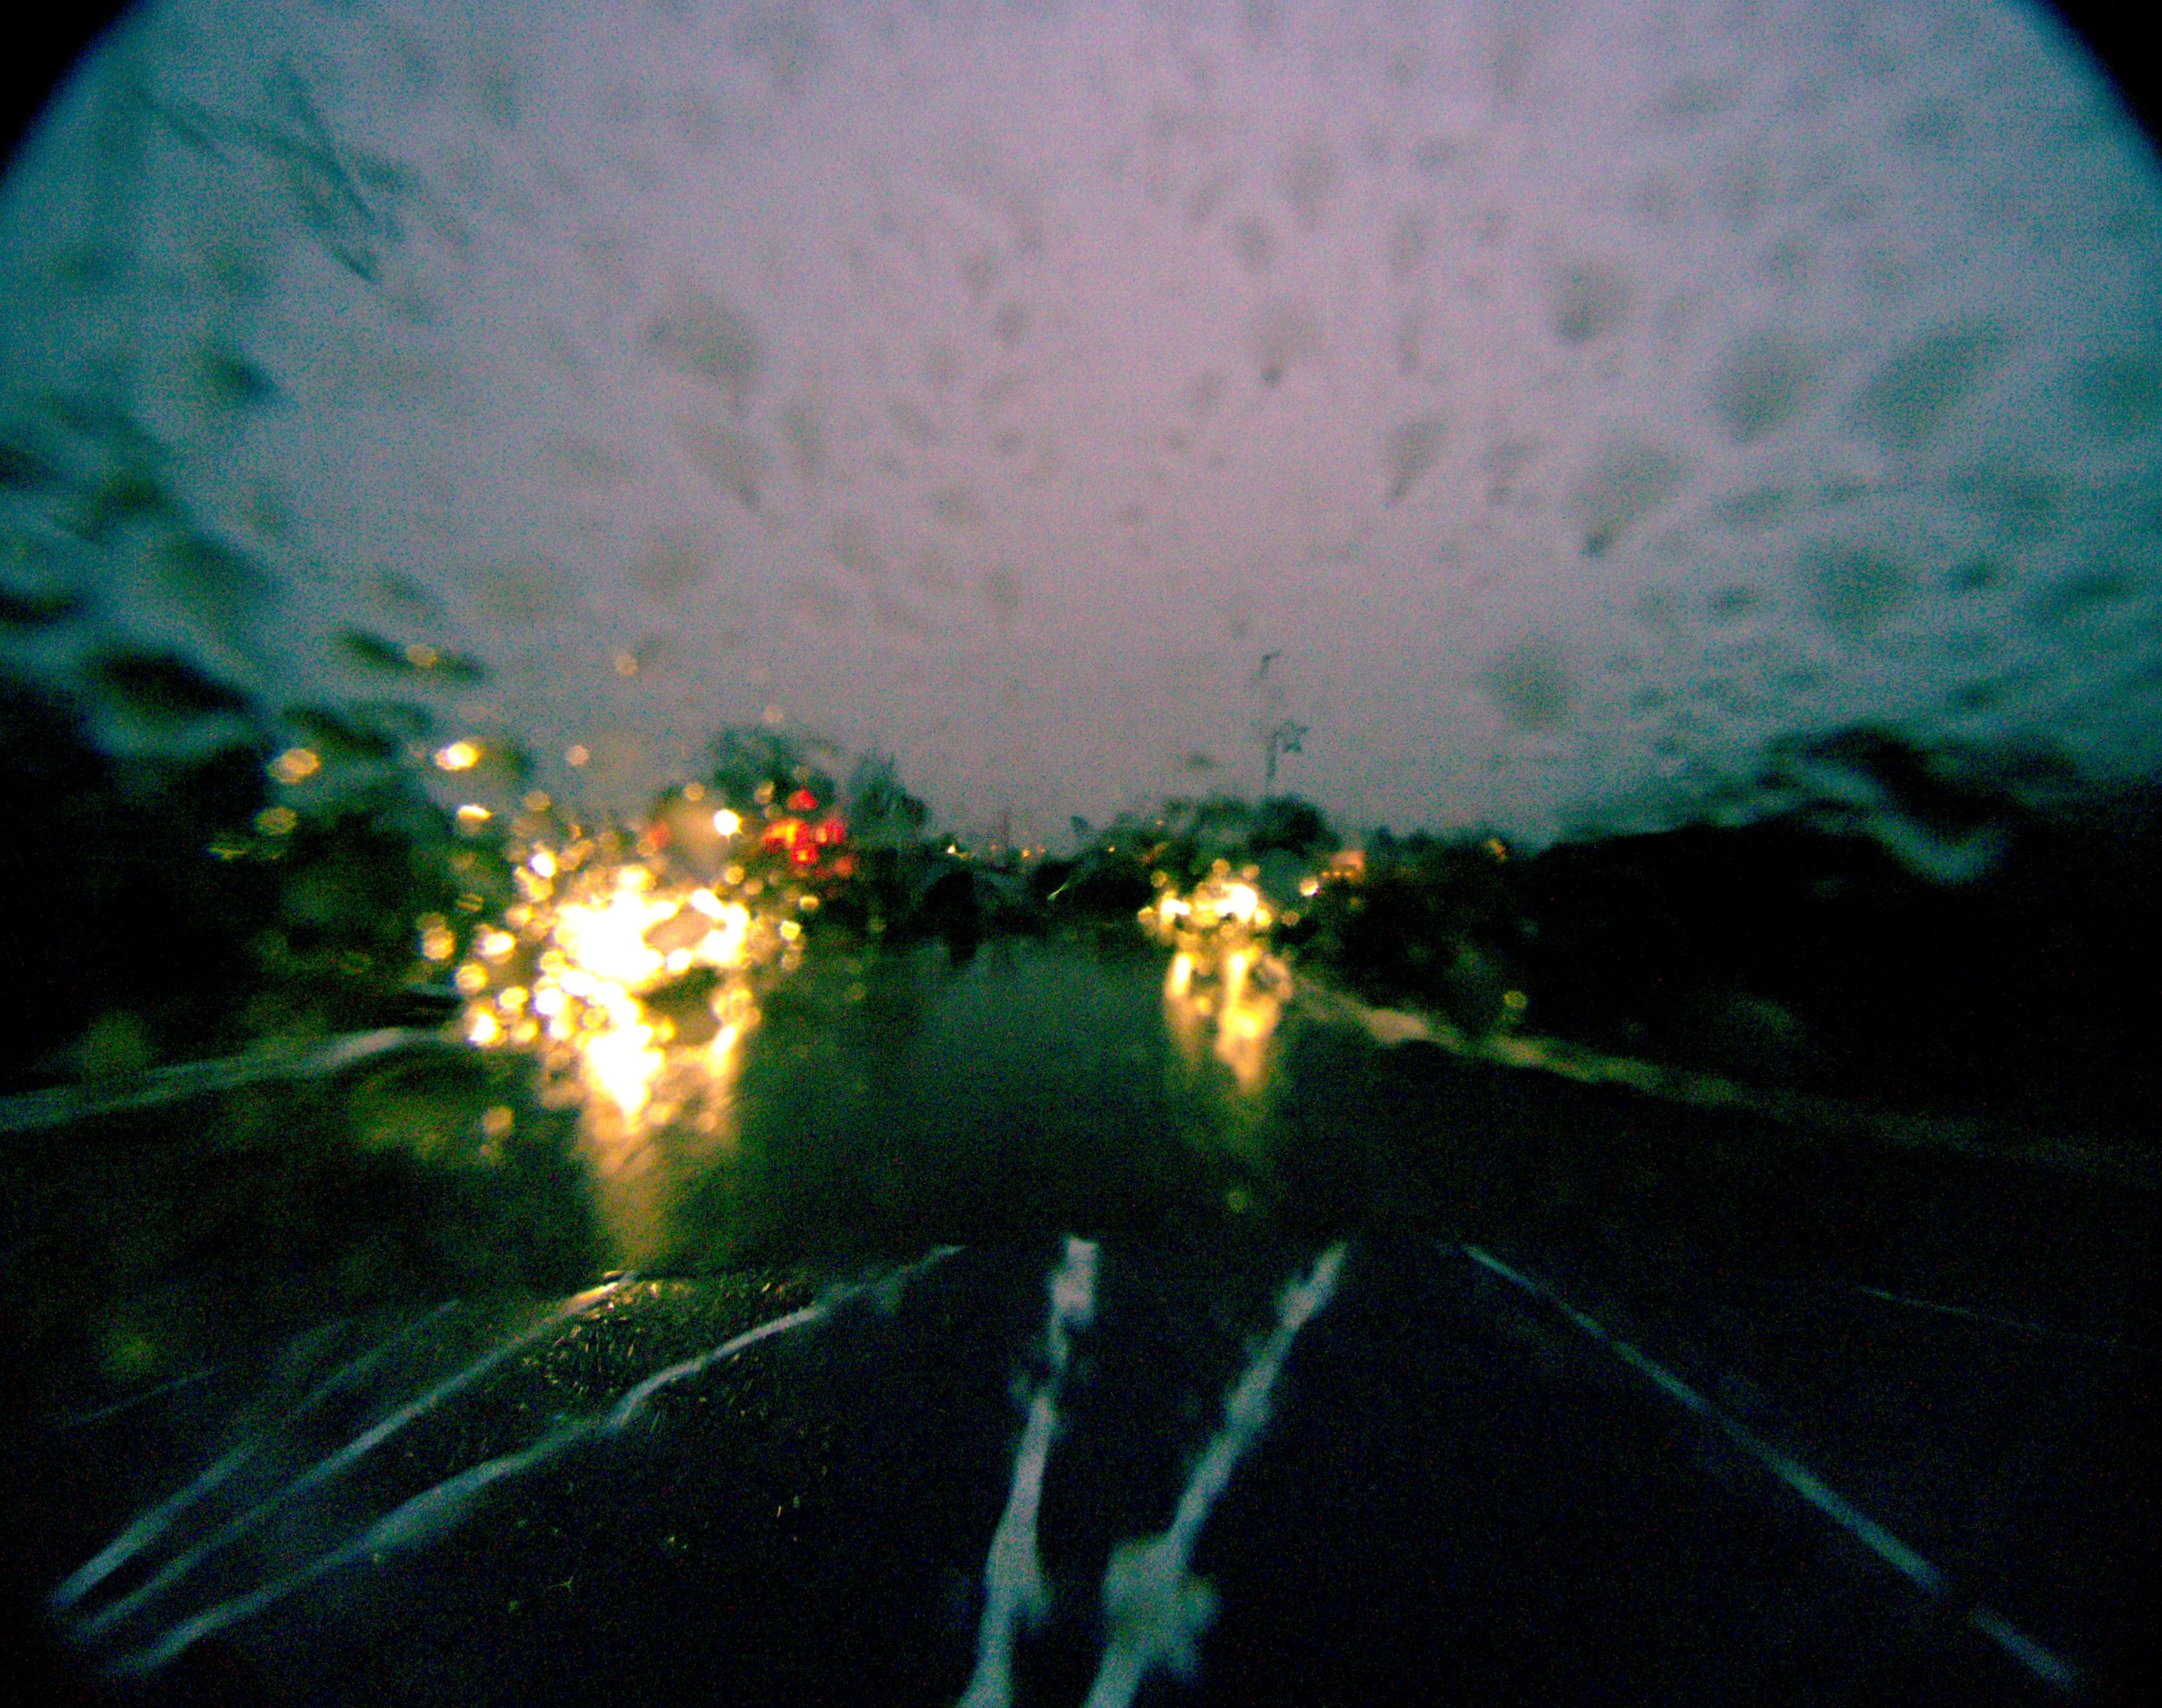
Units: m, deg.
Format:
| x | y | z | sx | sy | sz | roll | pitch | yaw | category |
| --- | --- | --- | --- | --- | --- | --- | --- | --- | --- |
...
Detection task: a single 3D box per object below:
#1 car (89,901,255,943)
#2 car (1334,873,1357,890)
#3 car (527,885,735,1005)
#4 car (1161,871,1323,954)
| x | y | z | sx | sy | sz | roll | pitch | yaw | category |
| --- | --- | --- | --- | --- | --- | --- | --- | --- | --- |
| -37.555 | 2.793 | 31.540 | 4.004 | 1.477 | 1.912 | 0 | 0 | -19 | car |
| 42.182 | 4.338 | 121.289 | 2.278 | 2.425 | 5.242 | 1 | 0 | 5 | car |
| -7.037 | 1.298 | 11.729 | 3.701 | 1.483 | 1.666 | -4 | -1 | 42 | car |
| 3.782 | 1.234 | 17.300 | 1.806 | 1.452 | 4.254 | -2 | 0 | 39 | car |
